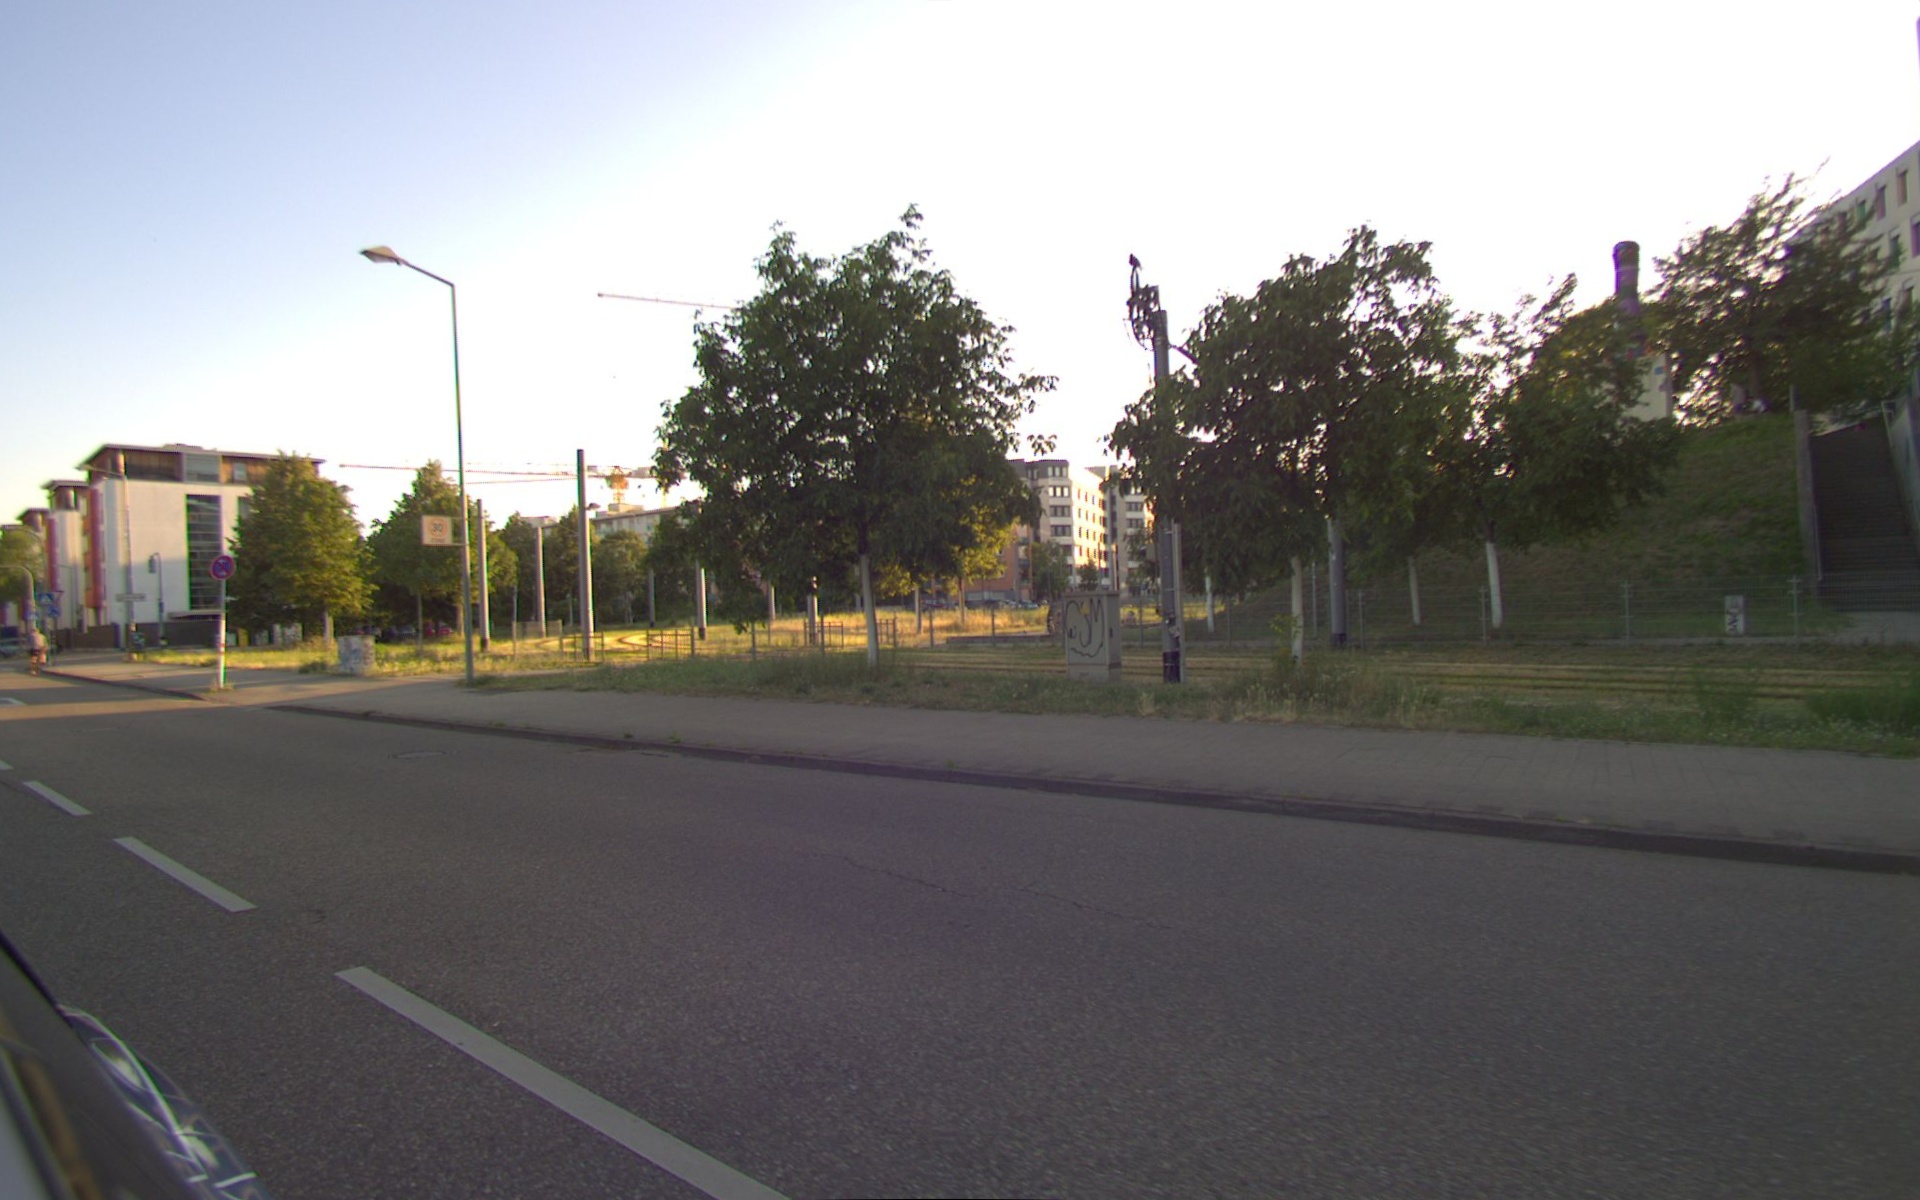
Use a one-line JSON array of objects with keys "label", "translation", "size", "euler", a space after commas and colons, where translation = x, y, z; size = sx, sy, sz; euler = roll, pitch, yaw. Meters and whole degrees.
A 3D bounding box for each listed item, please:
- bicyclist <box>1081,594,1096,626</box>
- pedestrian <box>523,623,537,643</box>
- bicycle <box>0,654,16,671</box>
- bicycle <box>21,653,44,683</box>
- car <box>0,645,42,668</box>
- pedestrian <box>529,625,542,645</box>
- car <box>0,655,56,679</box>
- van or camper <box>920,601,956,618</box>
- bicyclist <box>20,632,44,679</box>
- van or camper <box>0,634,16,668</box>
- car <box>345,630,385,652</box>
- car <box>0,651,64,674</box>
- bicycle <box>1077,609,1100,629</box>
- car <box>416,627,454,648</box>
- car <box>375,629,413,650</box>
[{"label": "bicyclist", "translation": [6.139, 0.482, 48.519], "size": [0.424, 1.506, 0.507], "euler": [-4, -2, 43]}, {"label": "pedestrian", "translation": [-36.528, 2.821, 85.960], "size": [0.654, 1.611, 0.706], "euler": [-3, 1, 30]}, {"label": "bicycle", "translation": [-66.122, 4.353, 69.452], "size": [0.566, 1.074, 1.799], "euler": [-4, 2, 40]}, {"label": "bicycle", "translation": [-34.110, 2.498, 37.214], "size": [0.532, 1.051, 1.926], "euler": [-2, -2, -44]}, {"label": "car", "translation": [-73.703, 4.452, 77.538], "size": [1.756, 1.597, 4.702], "euler": [-4, 0, 38]}, {"label": "pedestrian", "translation": [-35.903, 2.975, 85.609], "size": [0.622, 1.679, 0.736], "euler": [-3, 1, 29]}, {"label": "car", "translation": [-69.642, 4.996, 74.125], "size": [1.709, 1.489, 4.854], "euler": [-4, 1, 40]}, {"label": "van or camper", "translation": [-2.497, 1.051, 114.677], "size": [3.881, 1.707, 1.808], "euler": [-4, -2, 44]}, {"label": "bicyclist", "translation": [-34.152, 2.053, 37.241], "size": [0.607, 1.675, 1.037], "euler": [-2, -2, -44]}, {"label": "van or camper", "translation": [-90.695, 4.825, 92.427], "size": [2.439, 3.110, 6.238], "euler": [-3, 0, 37]}, {"label": "car", "translation": [-43.795, 3.008, 74.465], "size": [3.412, 1.533, 1.666], "euler": [-2, 0, 45]}, {"label": "car", "translation": [-67.114, 4.477, 72.503], "size": [1.679, 1.469, 4.236], "euler": [-4, -3, 40]}, {"label": "bicycle", "translation": [6.166, 0.911, 48.504], "size": [0.431, 0.907, 1.219], "euler": [-4, -1, 41]}, {"label": "car", "translation": [-40.191, 2.865, 77.495], "size": [3.412, 1.511, 1.571], "euler": [-2, 0, 45]}, {"label": "car", "translation": [-42.344, 2.938, 75.737], "size": [3.412, 1.511, 1.571], "euler": [-2, 0, 45]}]
